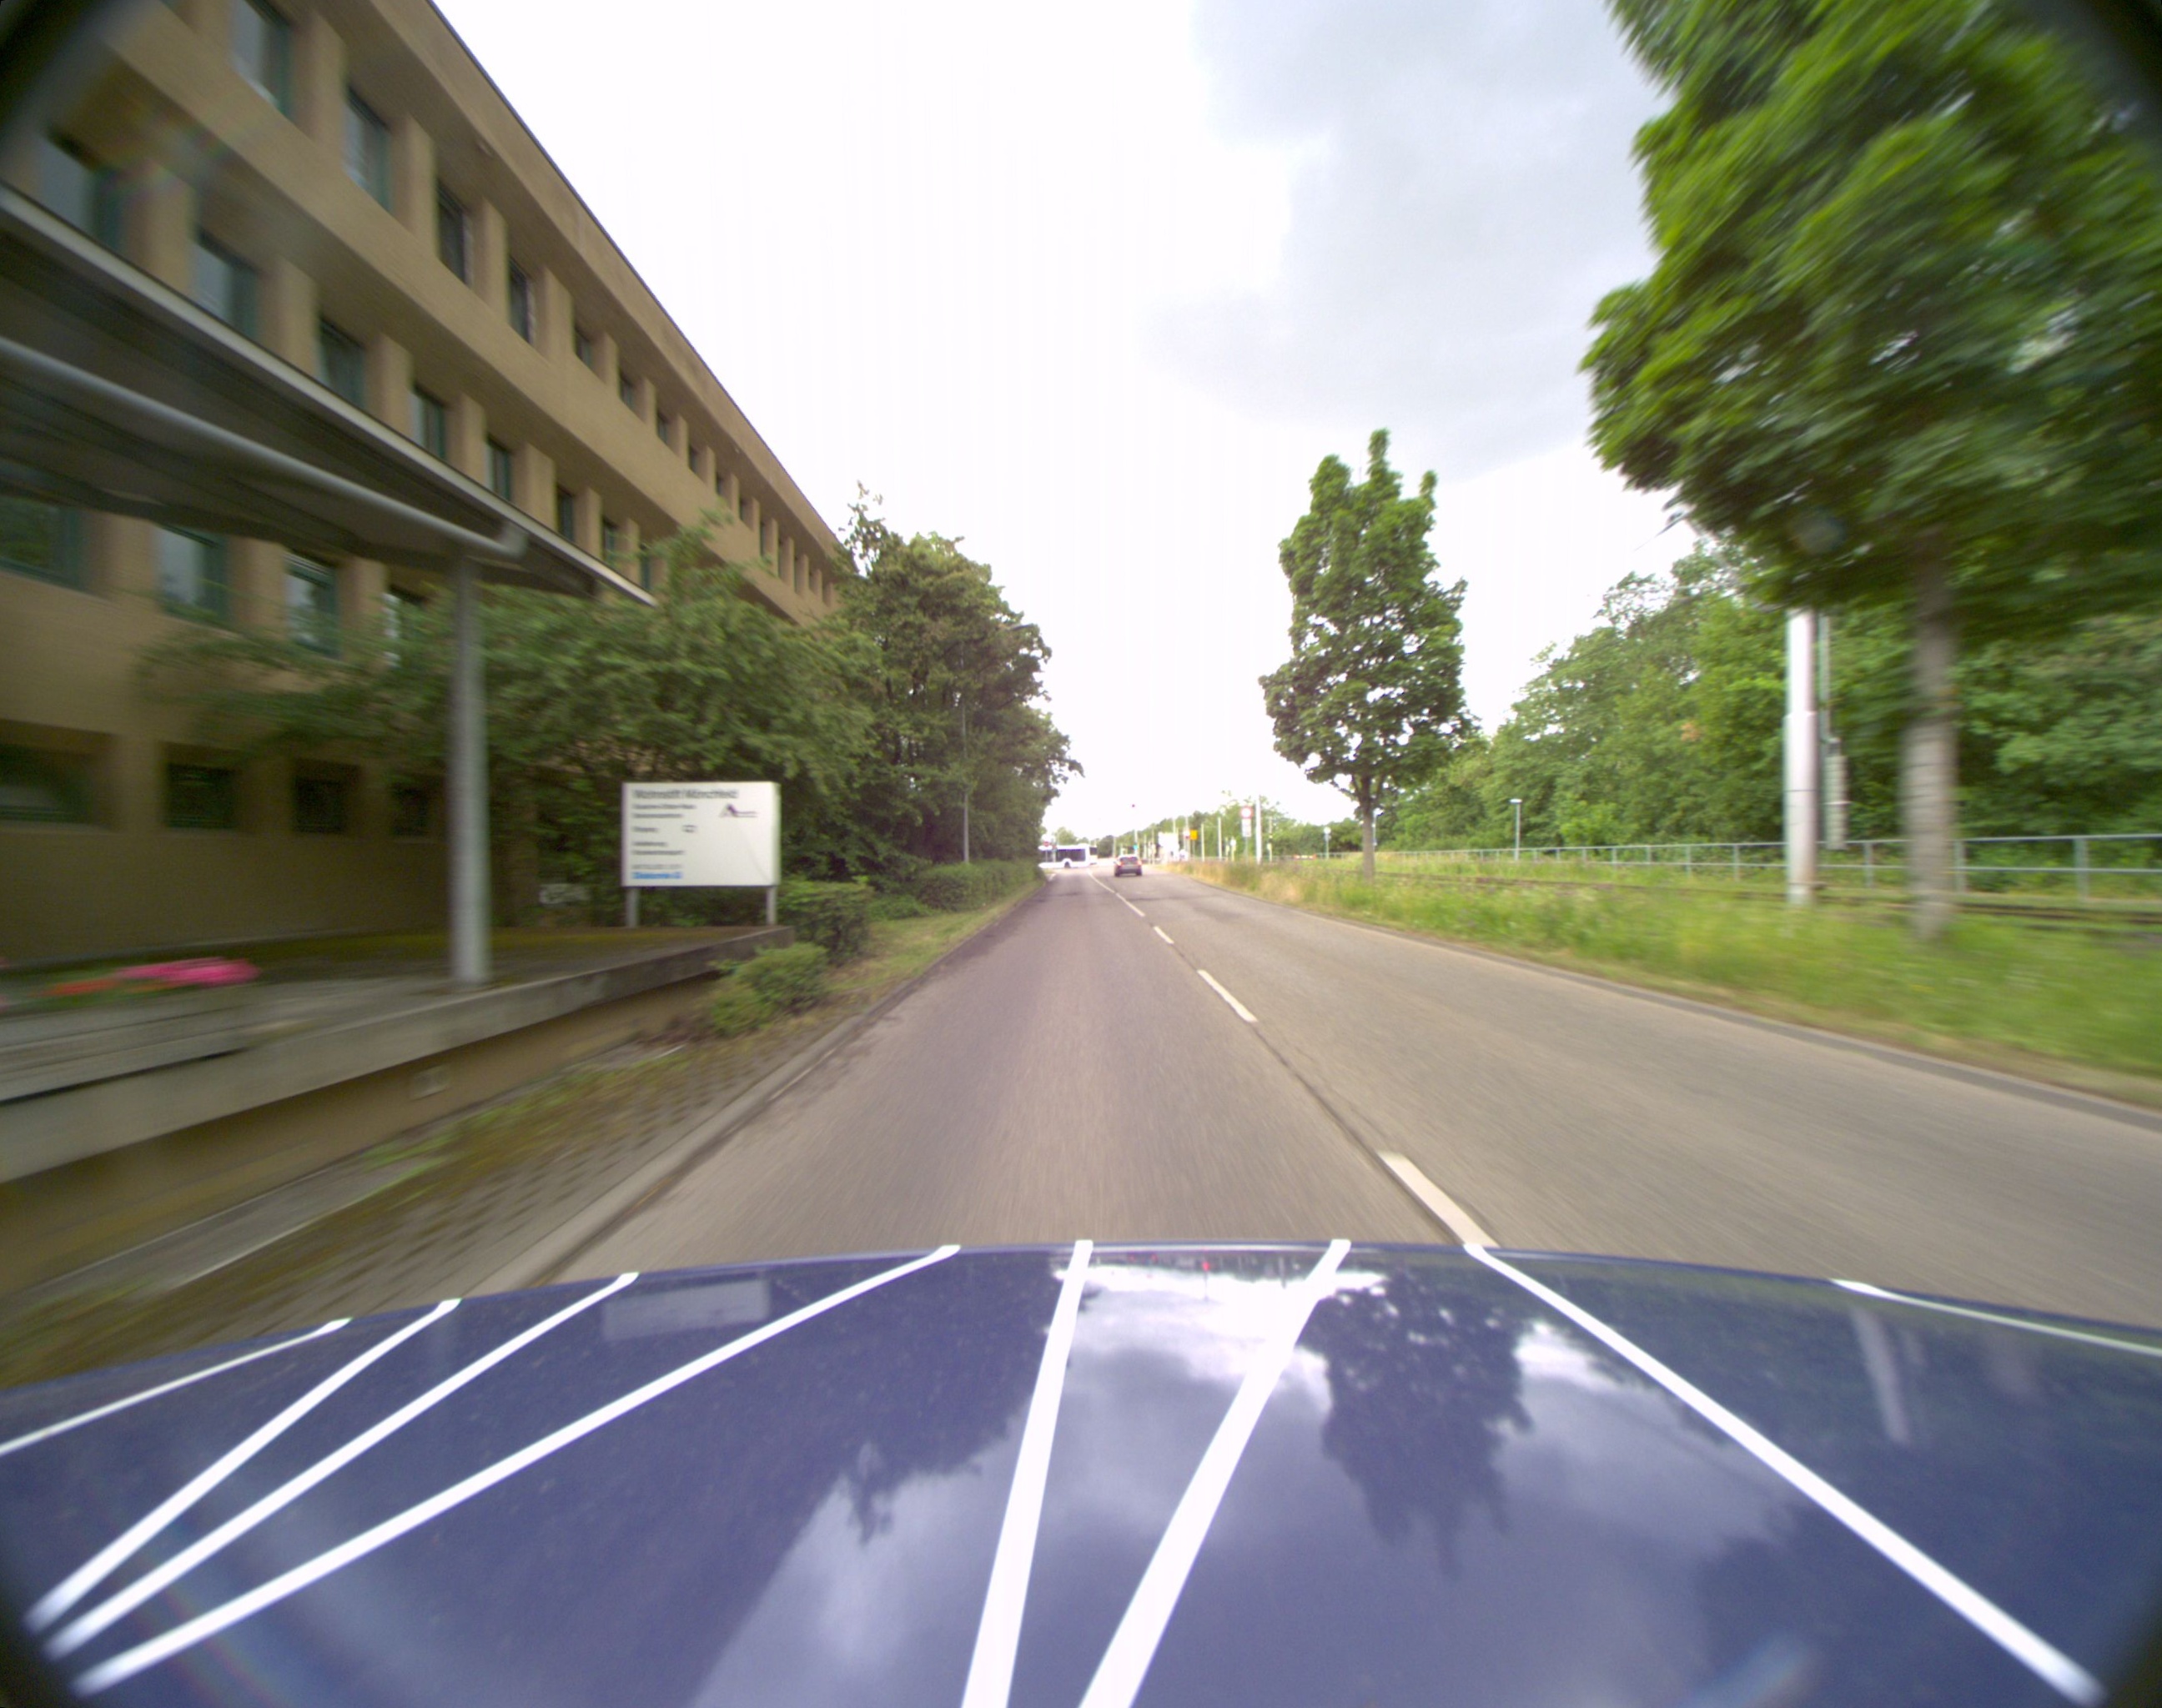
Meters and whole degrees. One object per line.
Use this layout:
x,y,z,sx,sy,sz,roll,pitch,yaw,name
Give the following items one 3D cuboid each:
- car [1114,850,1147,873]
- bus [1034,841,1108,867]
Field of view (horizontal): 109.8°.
3.416,0.492,53.276,2.038,1.508,3.653,-2,0,1,car
-1.487,0.036,104.113,9.853,3.049,3.174,-2,0,32,bus
